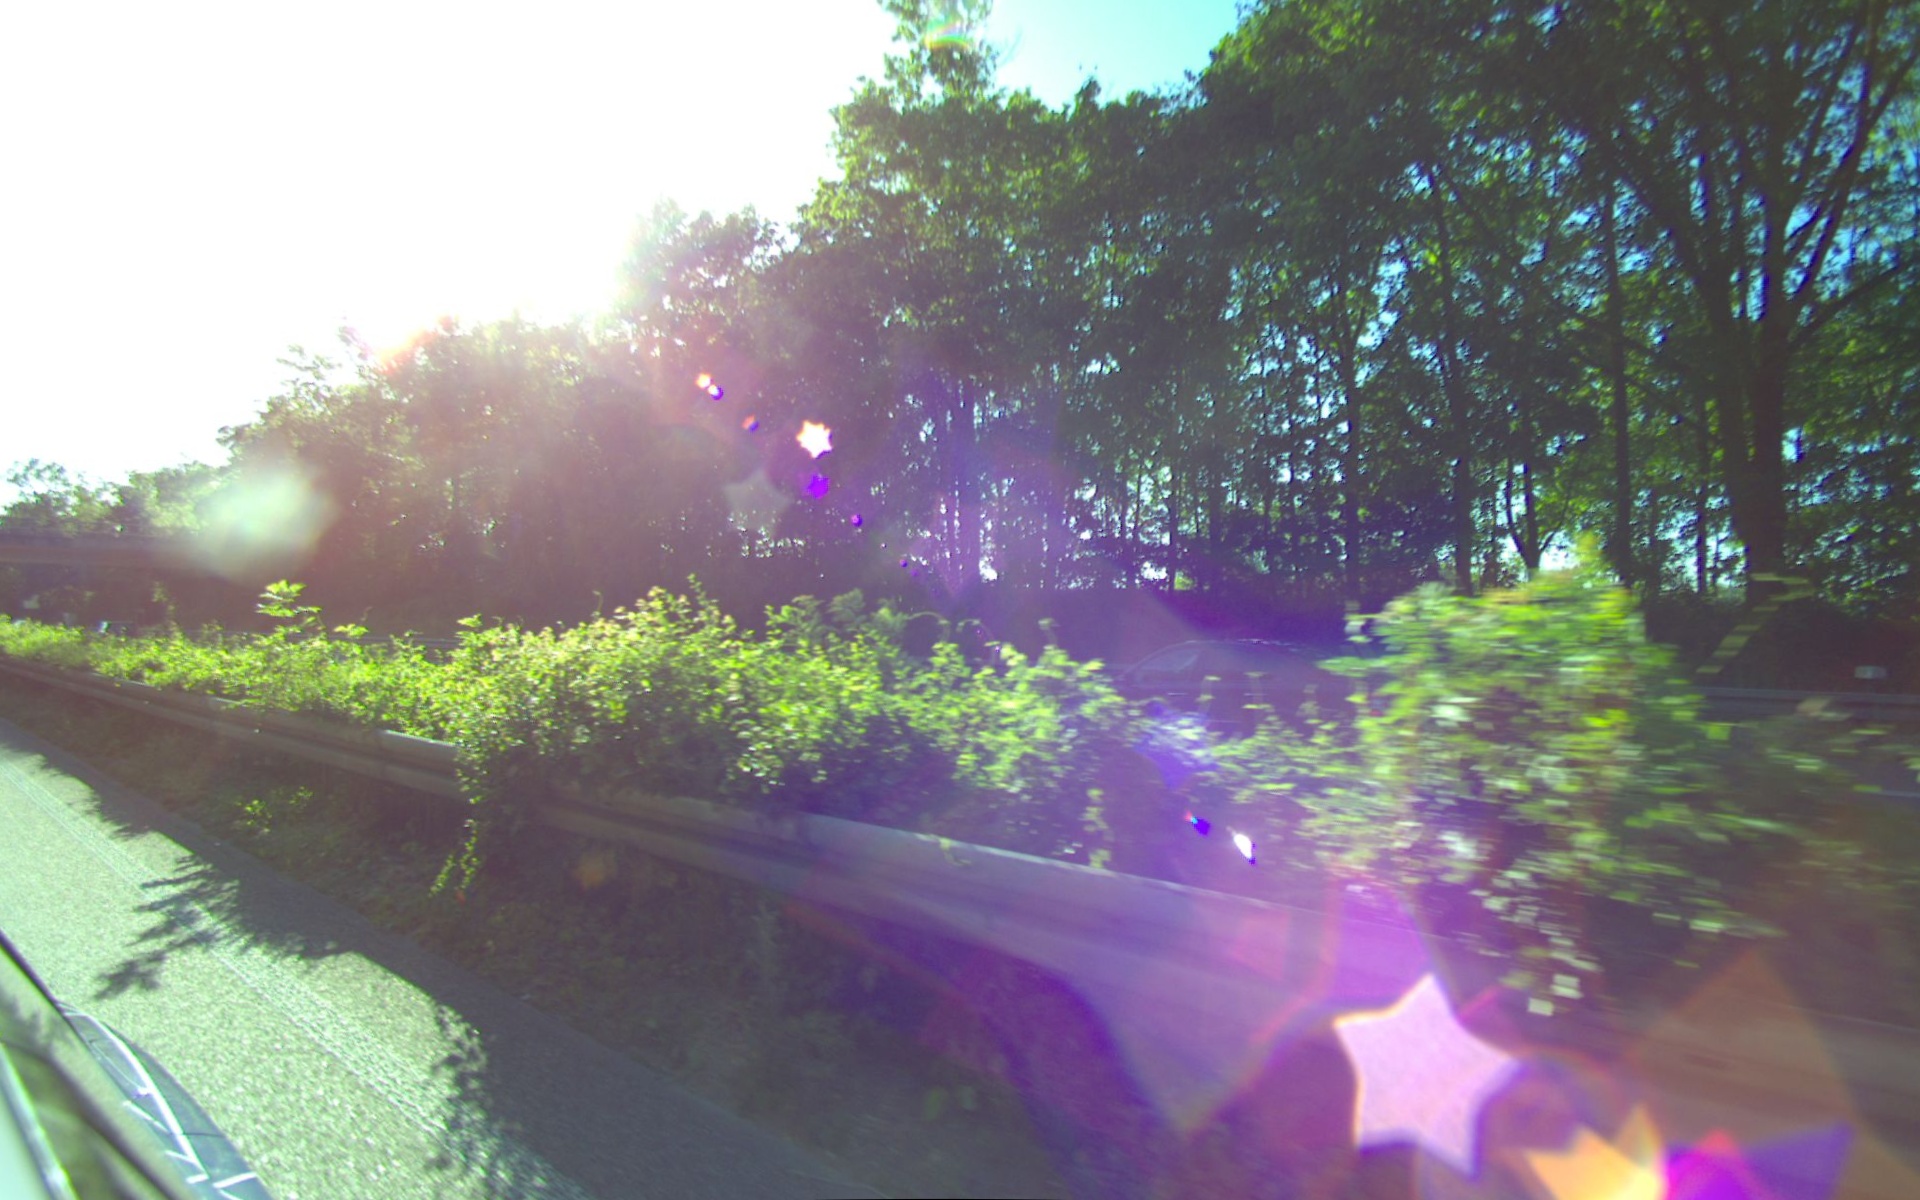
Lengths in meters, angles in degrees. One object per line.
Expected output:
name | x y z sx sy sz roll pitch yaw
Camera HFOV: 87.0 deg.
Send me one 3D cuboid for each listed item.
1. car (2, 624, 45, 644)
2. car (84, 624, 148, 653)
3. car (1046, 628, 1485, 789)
car | -72.496 2.583 78.323 4.580 1.461 1.941 -1 -1 40
car | -45.608 2.072 54.640 4.322 1.461 1.941 -1 -1 40
car | 3.407 1.093 11.780 4.501 1.461 1.941 -1 -1 39
